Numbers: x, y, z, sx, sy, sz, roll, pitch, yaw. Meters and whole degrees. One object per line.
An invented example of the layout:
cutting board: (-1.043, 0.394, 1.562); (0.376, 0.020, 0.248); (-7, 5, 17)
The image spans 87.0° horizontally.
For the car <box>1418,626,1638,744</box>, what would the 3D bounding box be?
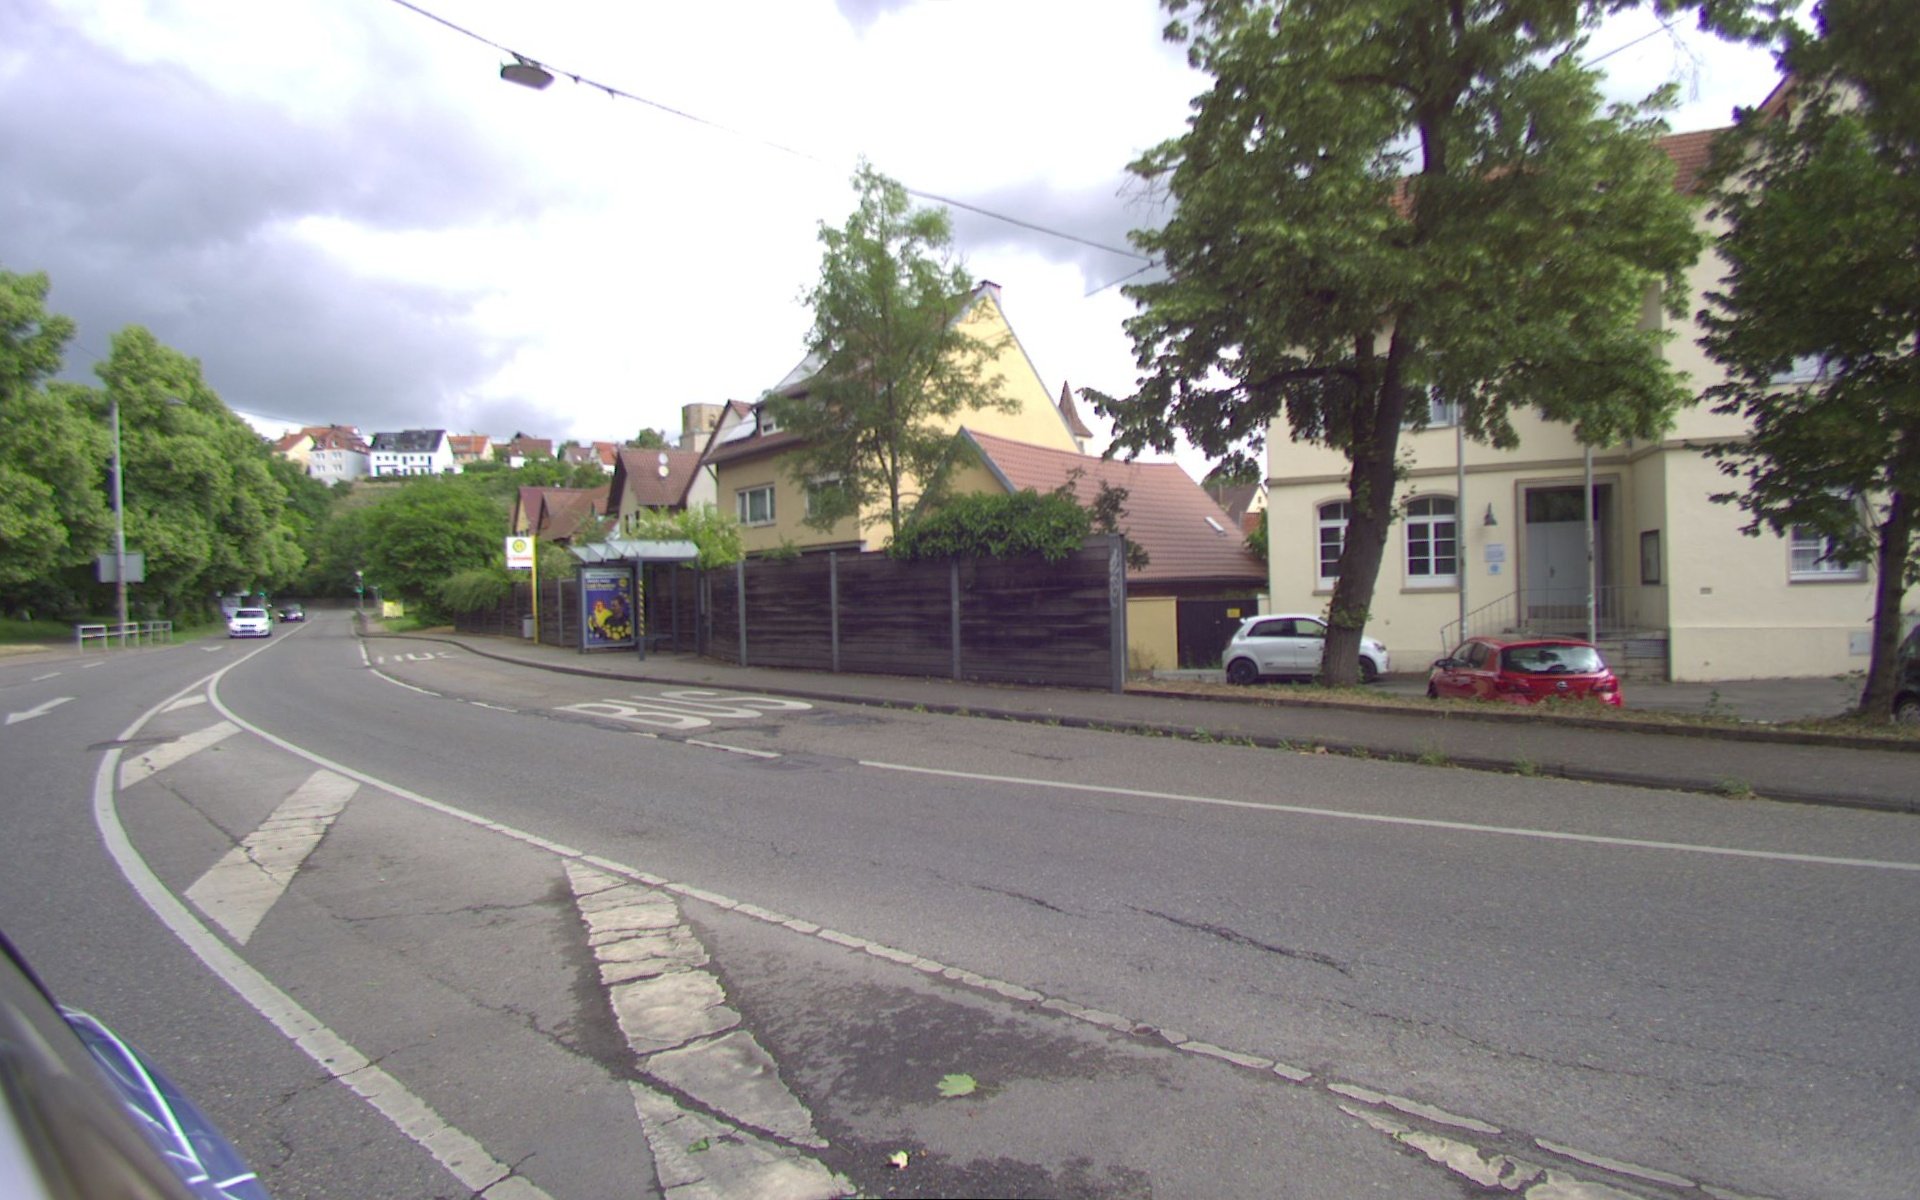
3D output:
car: (8.143, 1.143, 14.888); (1.644, 1.393, 3.708); (-1, 0, 10)

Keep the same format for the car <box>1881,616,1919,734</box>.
car: (12.632, 0.931, 11.314); (1.626, 1.450, 3.567); (-1, 0, 7)

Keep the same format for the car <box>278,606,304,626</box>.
car: (-57.904, 1.375, 87.590); (1.735, 1.596, 3.694); (-1, 0, -32)

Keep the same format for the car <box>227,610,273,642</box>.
car: (-35.820, 1.277, 51.112); (1.735, 1.536, 3.693); (-1, 0, -32)

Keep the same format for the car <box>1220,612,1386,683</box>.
car: (7.719, 1.052, 22.896); (3.411, 1.490, 1.600); (-1, 0, 21)
